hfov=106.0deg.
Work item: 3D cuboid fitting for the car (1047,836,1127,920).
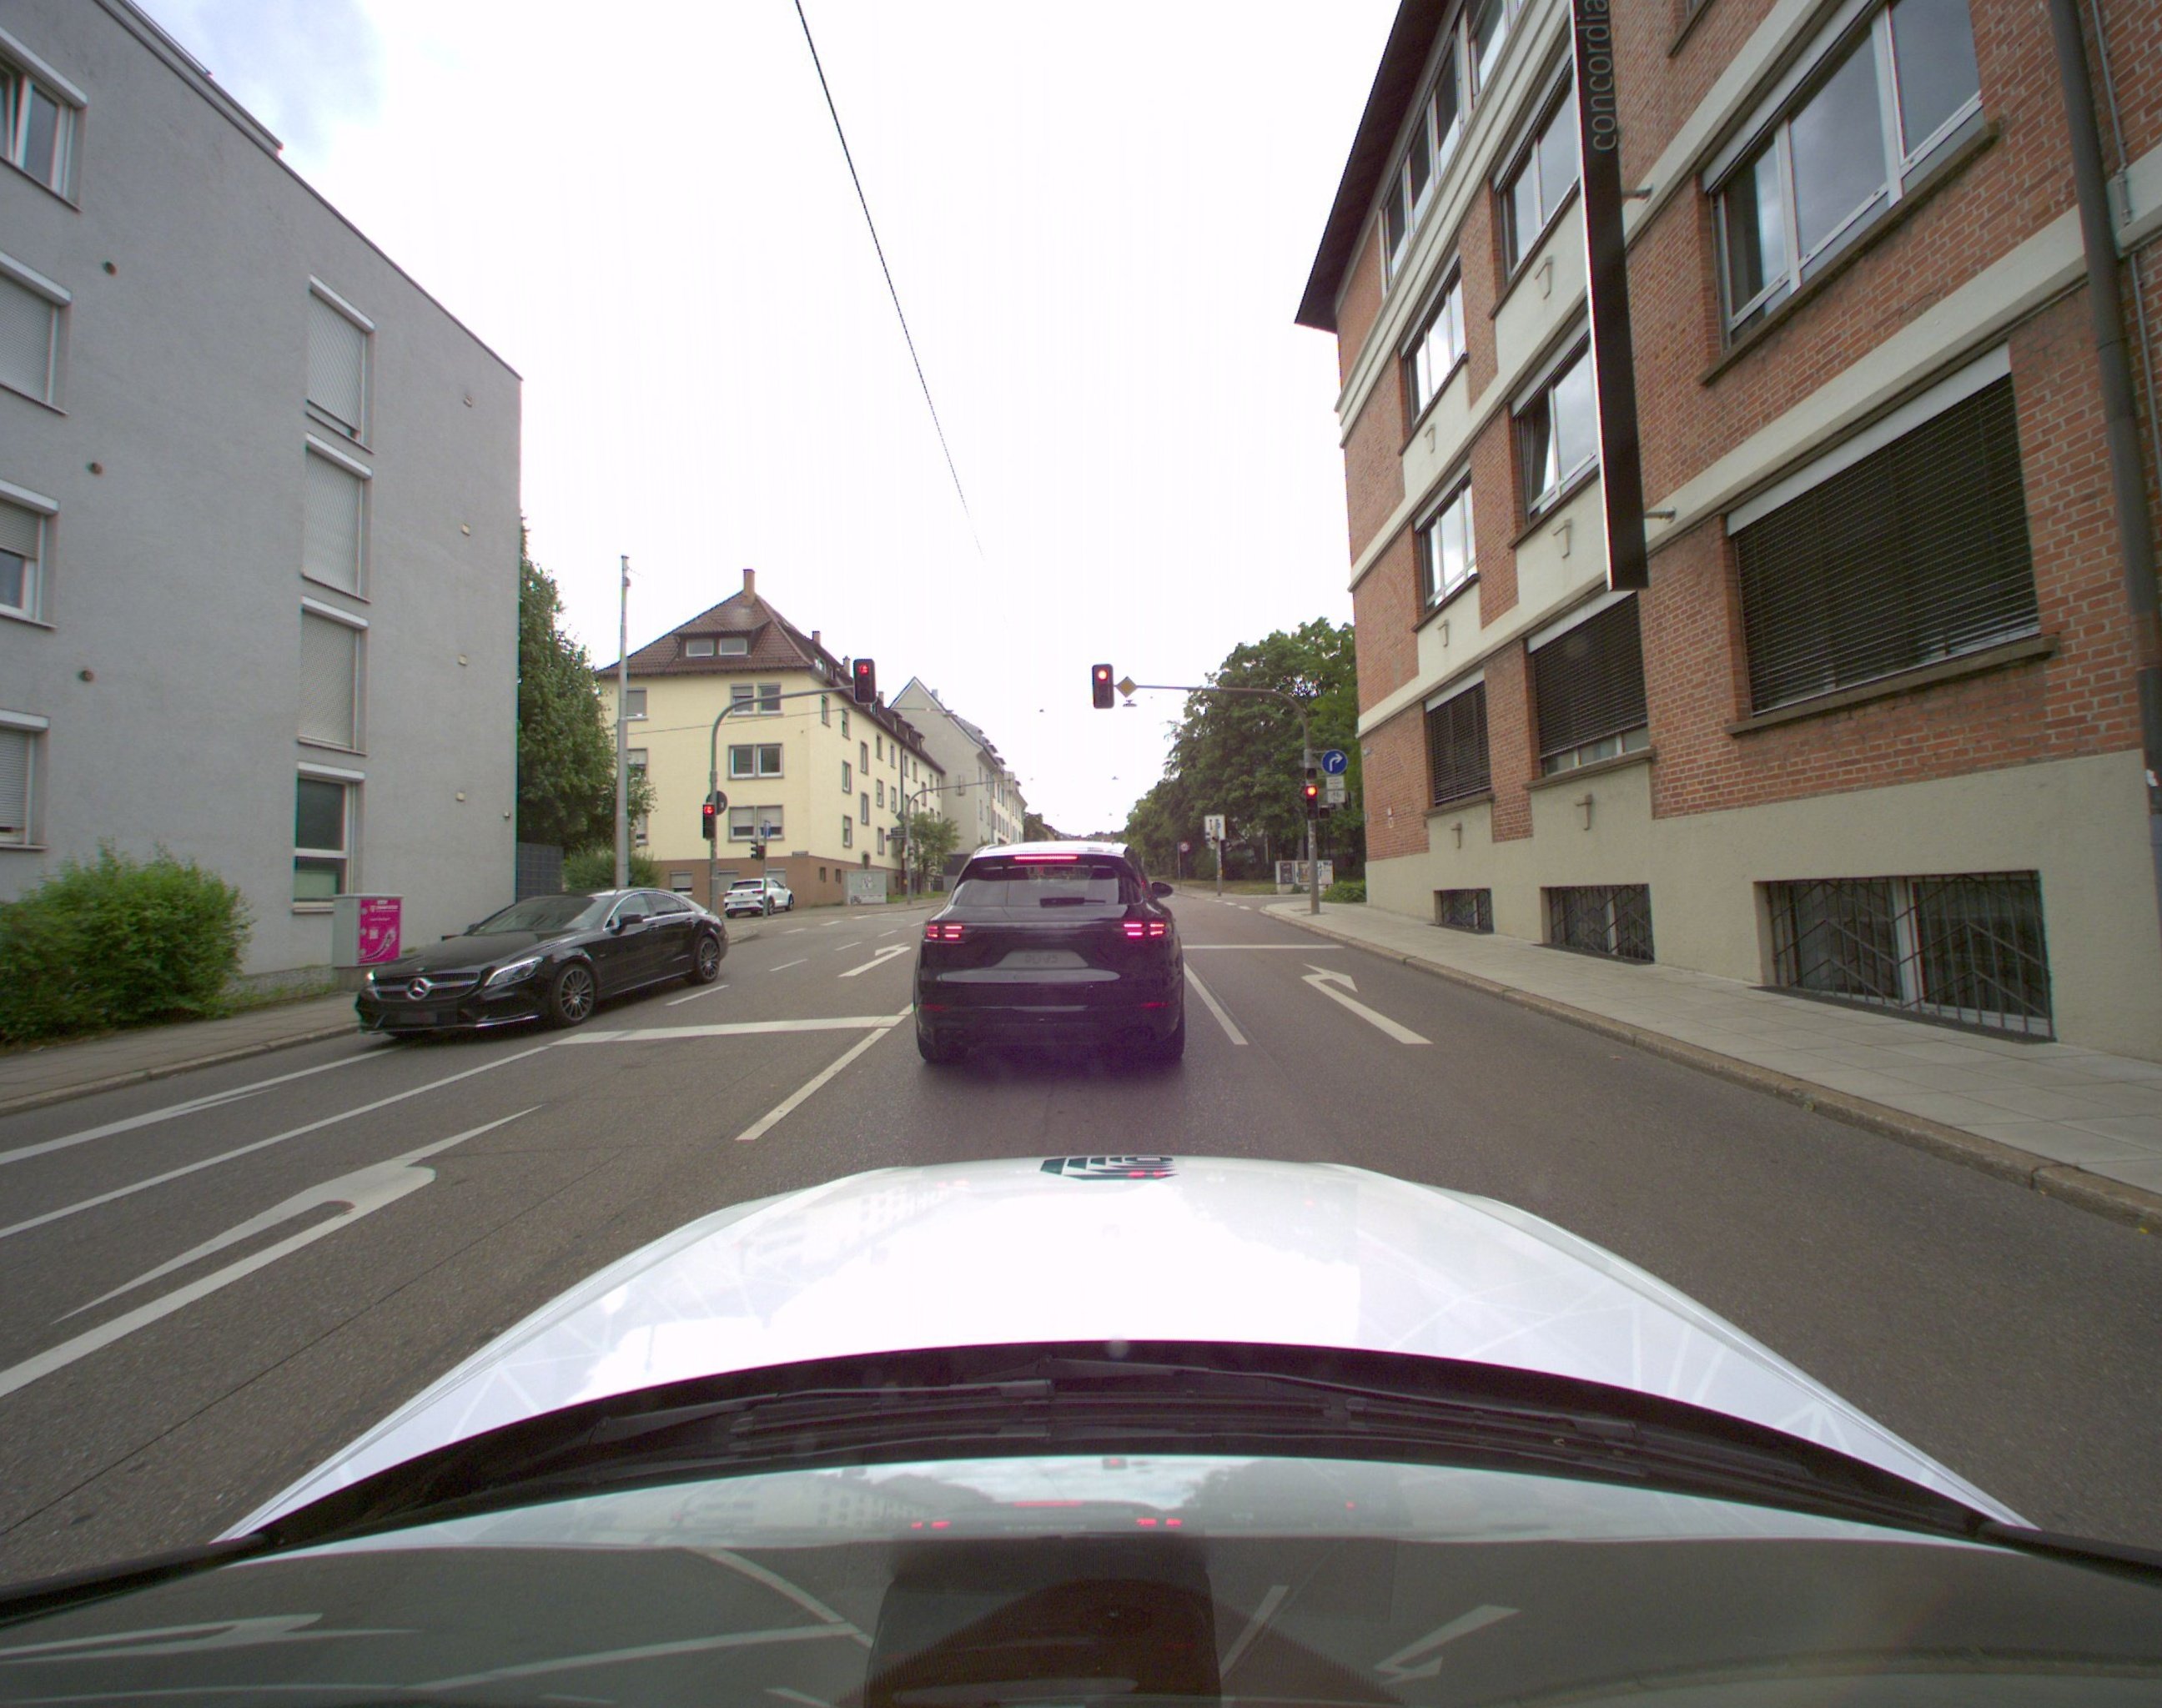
[{"bbox_3d":[0.227,0.595,22.029,1.957,2.042,4.137,0,0,2],"label":"car"}]

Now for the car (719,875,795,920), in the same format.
[{"bbox_3d":[-13.536,1.779,34.241,1.686,1.555,3.763,-4,0,-2],"label":"car"}]

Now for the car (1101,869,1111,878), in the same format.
[{"bbox_3d":[5.013,3.892,163.373,1.820,1.605,4.137,0,0,2],"label":"car"}]

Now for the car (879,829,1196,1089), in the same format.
[{"bbox_3d":[-0.204,0.680,7.379,2.040,1.666,4.269,0,0,2],"label":"car"}]

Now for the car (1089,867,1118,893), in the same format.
[{"bbox_3d":[1.463,1.644,52.645,1.820,1.605,3.860,0,0,2],"label":"car"}]

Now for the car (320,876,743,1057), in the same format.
[{"bbox_3d":[-6.084,1.112,9.908,1.779,1.418,4.672,-4,0,2],"label":"car"}]

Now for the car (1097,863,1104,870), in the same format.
[{"bbox_3d":[5.052,3.265,210.383,1.820,1.605,4.137,0,0,2],"label":"car"}]

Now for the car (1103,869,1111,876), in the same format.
[{"bbox_3d":[5.847,4.124,182.539,1.820,1.605,4.137,0,0,2],"label":"car"}]

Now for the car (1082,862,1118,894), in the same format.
[{"bbox_3d":[1.049,1.266,43.938,1.820,1.605,4.137,0,0,2],"label":"car"}]

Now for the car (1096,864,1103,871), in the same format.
[{"bbox_3d":[4.635,3.290,203.062,1.820,1.605,4.137,0,0,2],"label":"car"}]
